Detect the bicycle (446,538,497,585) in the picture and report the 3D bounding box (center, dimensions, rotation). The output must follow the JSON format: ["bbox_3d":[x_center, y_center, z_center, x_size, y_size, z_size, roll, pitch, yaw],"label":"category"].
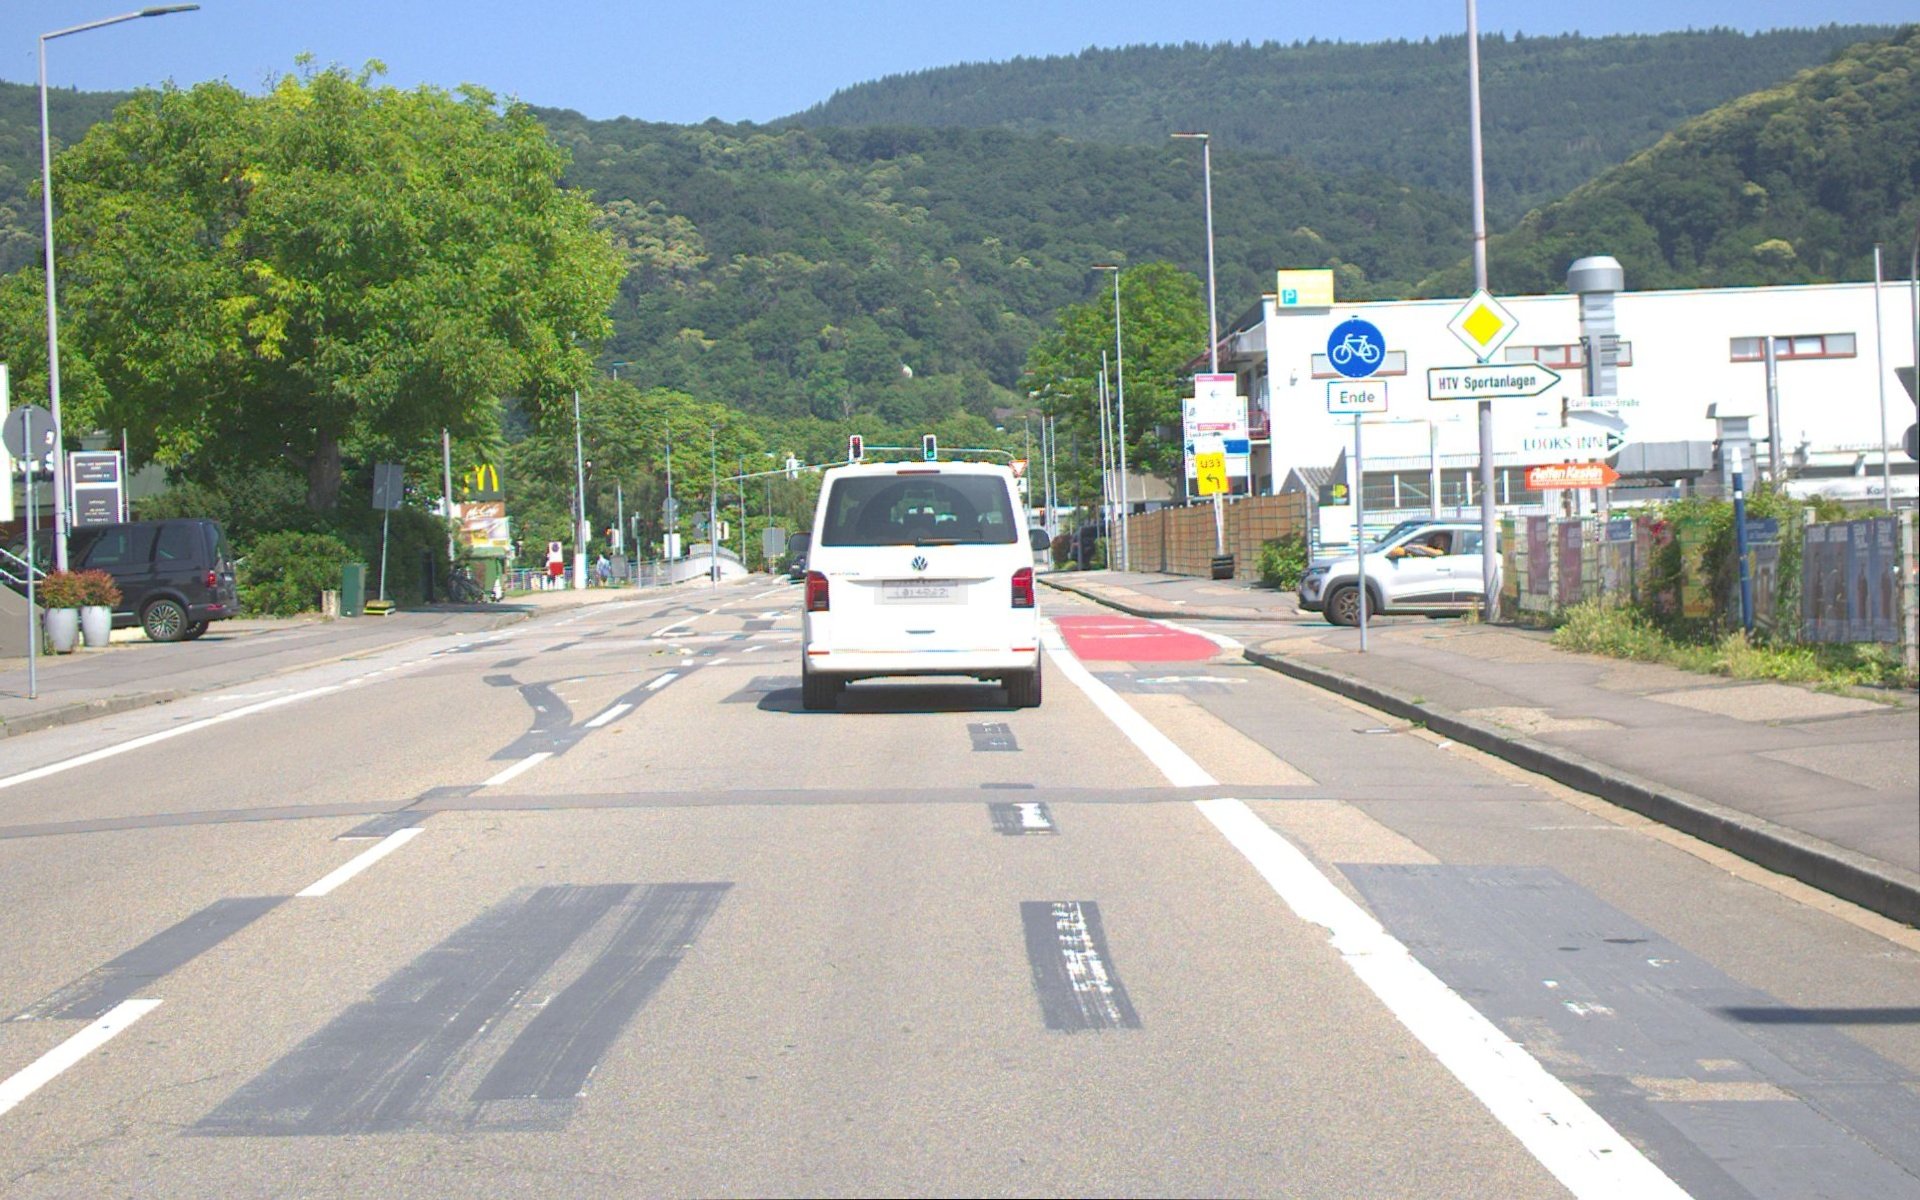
[{"bbox_3d":[-11.843,-0.935,83.420,1.026,1.114,2.766,0,1,-4],"label":"bicycle"}]

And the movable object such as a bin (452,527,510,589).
[{"bbox_3d":[-12.942,-1.143,92.881,1.448,1.585,1.307,-3,1,-9],"label":"movable object such as a bin"}]

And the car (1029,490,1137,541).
[{"bbox_3d":[4.770,-3.285,133.263,3.988,1.769,2.000,-3,1,6],"label":"car"}]

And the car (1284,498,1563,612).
[{"bbox_3d":[6.428,-0.639,47.931,3.665,1.479,1.728,-1,1,2],"label":"car"}]

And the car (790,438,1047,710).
[{"bbox_3d":[-0.409,-0.246,28.560,1.934,2.052,4.545,-1,1,-2],"label":"car"}]

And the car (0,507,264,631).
[{"bbox_3d":[-13.662,-0.501,55.374,4.565,1.859,2.093,-2,1,-5],"label":"car"}]

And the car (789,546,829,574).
[{"bbox_3d":[-7.865,-2.087,179.830,1.993,1.365,4.327,-3,1,-2],"label":"car"}]

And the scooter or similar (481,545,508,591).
[{"bbox_3d":[-11.800,-0.818,87.218,0.646,1.124,1.623,1,1,-7],"label":"scooter or similar"}]
